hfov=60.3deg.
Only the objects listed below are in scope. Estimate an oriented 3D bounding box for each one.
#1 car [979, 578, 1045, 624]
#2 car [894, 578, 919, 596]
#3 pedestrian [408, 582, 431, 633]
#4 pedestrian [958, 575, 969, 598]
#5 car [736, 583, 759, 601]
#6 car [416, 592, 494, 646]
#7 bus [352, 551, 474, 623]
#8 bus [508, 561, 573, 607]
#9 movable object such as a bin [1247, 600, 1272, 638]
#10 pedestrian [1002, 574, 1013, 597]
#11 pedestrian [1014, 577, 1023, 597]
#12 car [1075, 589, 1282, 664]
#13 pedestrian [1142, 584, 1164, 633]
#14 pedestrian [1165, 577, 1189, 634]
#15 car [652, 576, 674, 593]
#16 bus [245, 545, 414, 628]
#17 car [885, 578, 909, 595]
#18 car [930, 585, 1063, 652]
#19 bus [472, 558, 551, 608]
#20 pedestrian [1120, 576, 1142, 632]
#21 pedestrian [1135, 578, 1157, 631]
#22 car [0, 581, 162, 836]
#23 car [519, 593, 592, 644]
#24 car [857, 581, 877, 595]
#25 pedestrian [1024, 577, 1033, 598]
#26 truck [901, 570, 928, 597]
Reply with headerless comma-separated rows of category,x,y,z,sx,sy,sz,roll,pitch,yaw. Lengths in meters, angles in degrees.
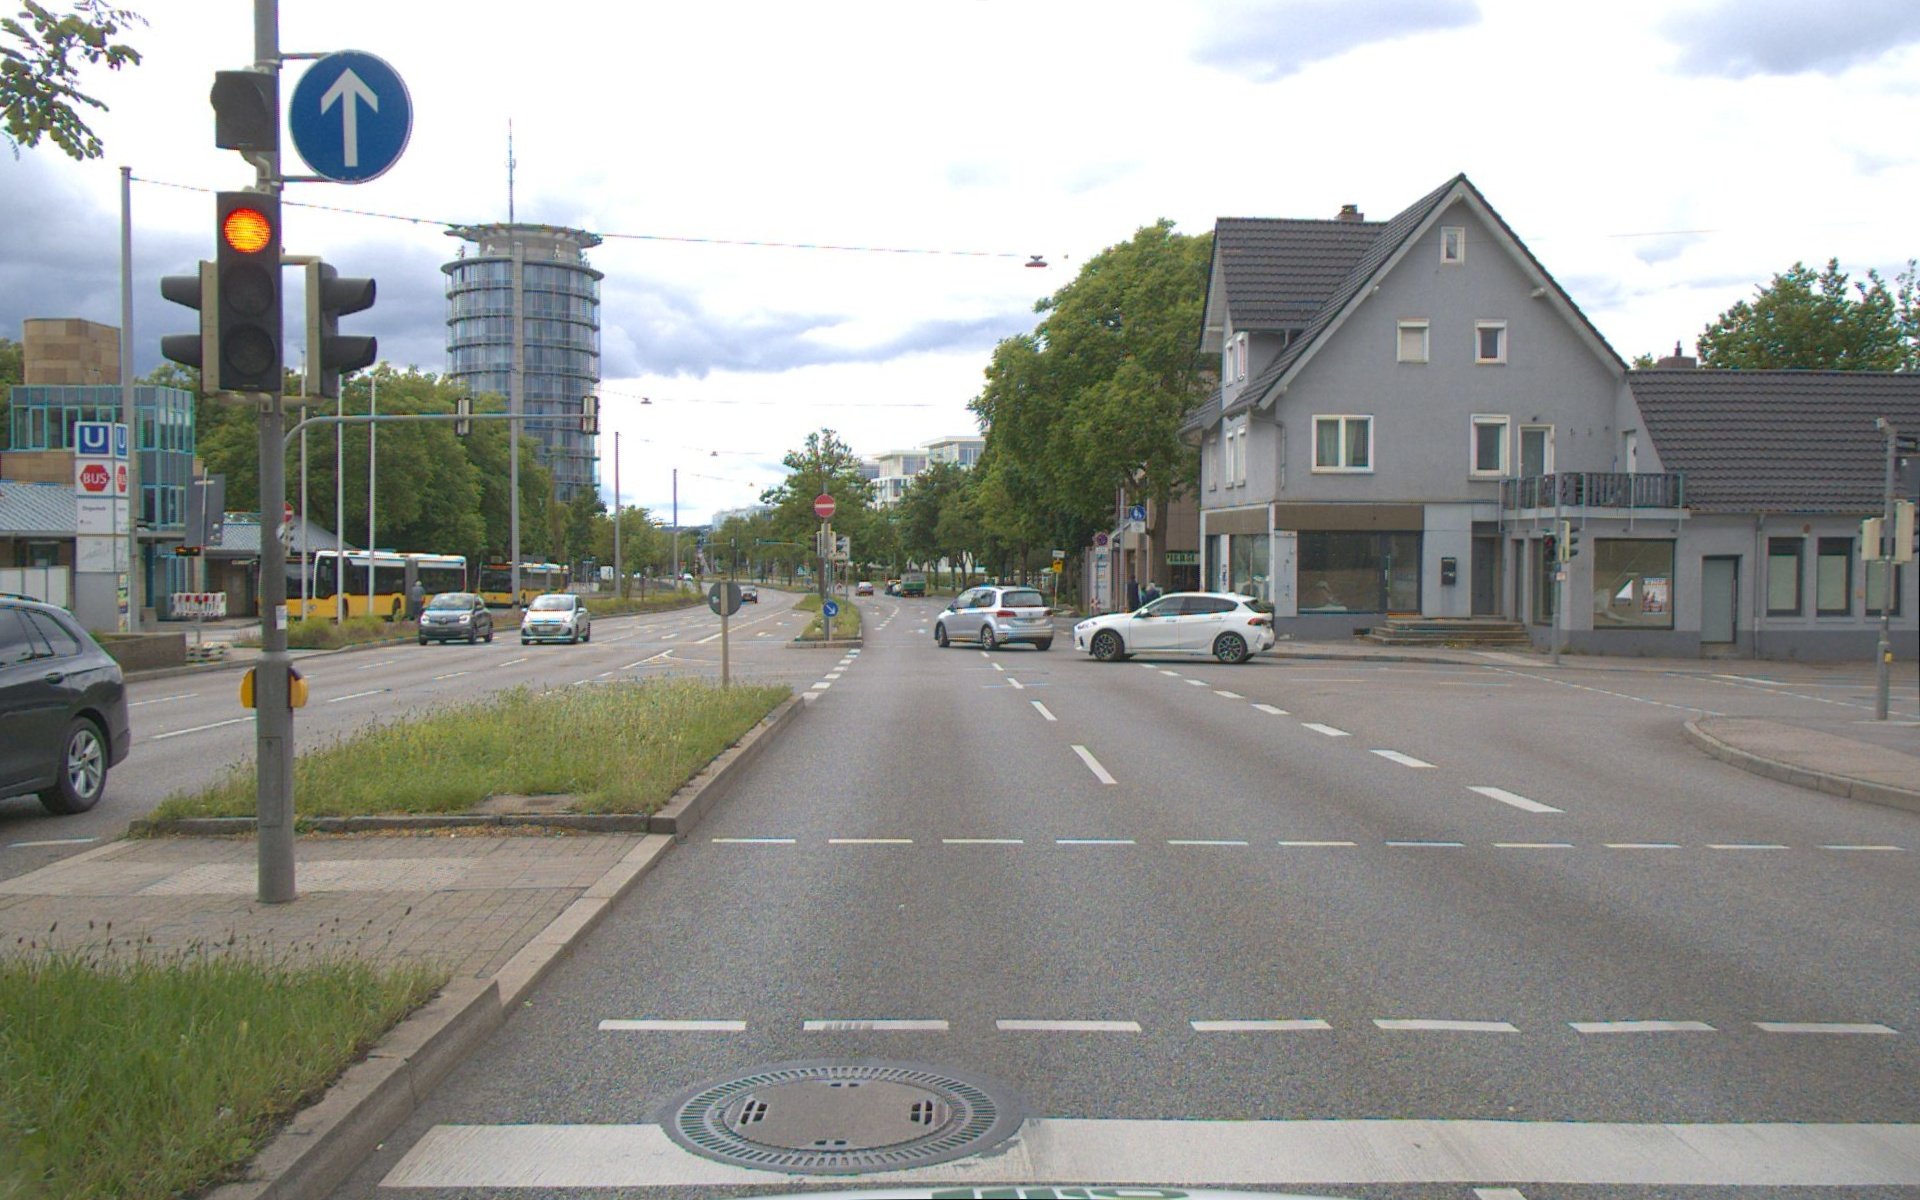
car,1.829,0.044,58.964,1.852,1.521,4.094,-1,0,-5
car,-5.395,-1.256,165.010,2.207,1.787,4.927,0,0,-5
pedestrian,-20.871,0.281,63.848,0.647,1.930,0.685,0,0,-1
pedestrian,0.354,-1.447,175.240,0.914,2.349,1.008,1,-1,-10
car,-18.380,-0.710,143.183,1.668,1.518,3.560,-1,0,-2
car,-15.474,0.560,50.821,1.652,1.606,3.344,0,0,-6
bus,-26.544,-0.621,80.726,2.927,3.327,7.879,-1,0,3
bus,-31.143,-1.144,123.019,3.081,3.281,7.762,0,0,-2
movable object such as a bin,7.996,0.494,44.168,0.518,0.997,0.736,0,0,-1
pedestrian,4.199,-1.304,146.720,0.951,2.049,0.981,1,-1,-2
pedestrian,4.526,-0.999,128.029,0.638,1.597,0.669,0,0,-9
car,4.735,0.545,35.663,4.152,1.503,2.001,1,0,16
pedestrian,6.201,0.270,53.089,0.690,1.533,0.871,0,0,6
pedestrian,6.916,0.168,52.712,0.690,1.791,1.053,0,0,3
car,-35.898,-1.848,199.751,1.925,2.049,3.999,1,0,-1
bus,-27.082,-0.567,71.702,2.927,3.307,10.174,-1,0,3
car,-6.595,-1.404,173.787,2.207,1.676,4.927,0,0,-6
car,0.877,0.431,42.230,1.799,1.567,4.082,2,0,-25
bus,-30.781,-1.128,114.020,3.082,3.281,10.279,0,0,-3
pedestrian,5.569,0.123,53.851,0.690,1.811,0.871,-1,0,5
pedestrian,6.352,0.152,56.455,0.690,1.811,0.871,-1,0,9
car,-6.533,0.700,9.660,1.675,1.506,4.287,-4,1,-2
car,-12.366,0.545,50.733,1.651,1.488,3.552,0,0,-5
car,-9.713,-1.274,173.030,1.929,1.444,4.017,0,0,-6
pedestrian,5.300,-0.985,128.092,0.638,1.597,0.669,0,0,-9
truck,-4.342,-1.548,156.433,2.207,2.459,4.927,0,0,-5
